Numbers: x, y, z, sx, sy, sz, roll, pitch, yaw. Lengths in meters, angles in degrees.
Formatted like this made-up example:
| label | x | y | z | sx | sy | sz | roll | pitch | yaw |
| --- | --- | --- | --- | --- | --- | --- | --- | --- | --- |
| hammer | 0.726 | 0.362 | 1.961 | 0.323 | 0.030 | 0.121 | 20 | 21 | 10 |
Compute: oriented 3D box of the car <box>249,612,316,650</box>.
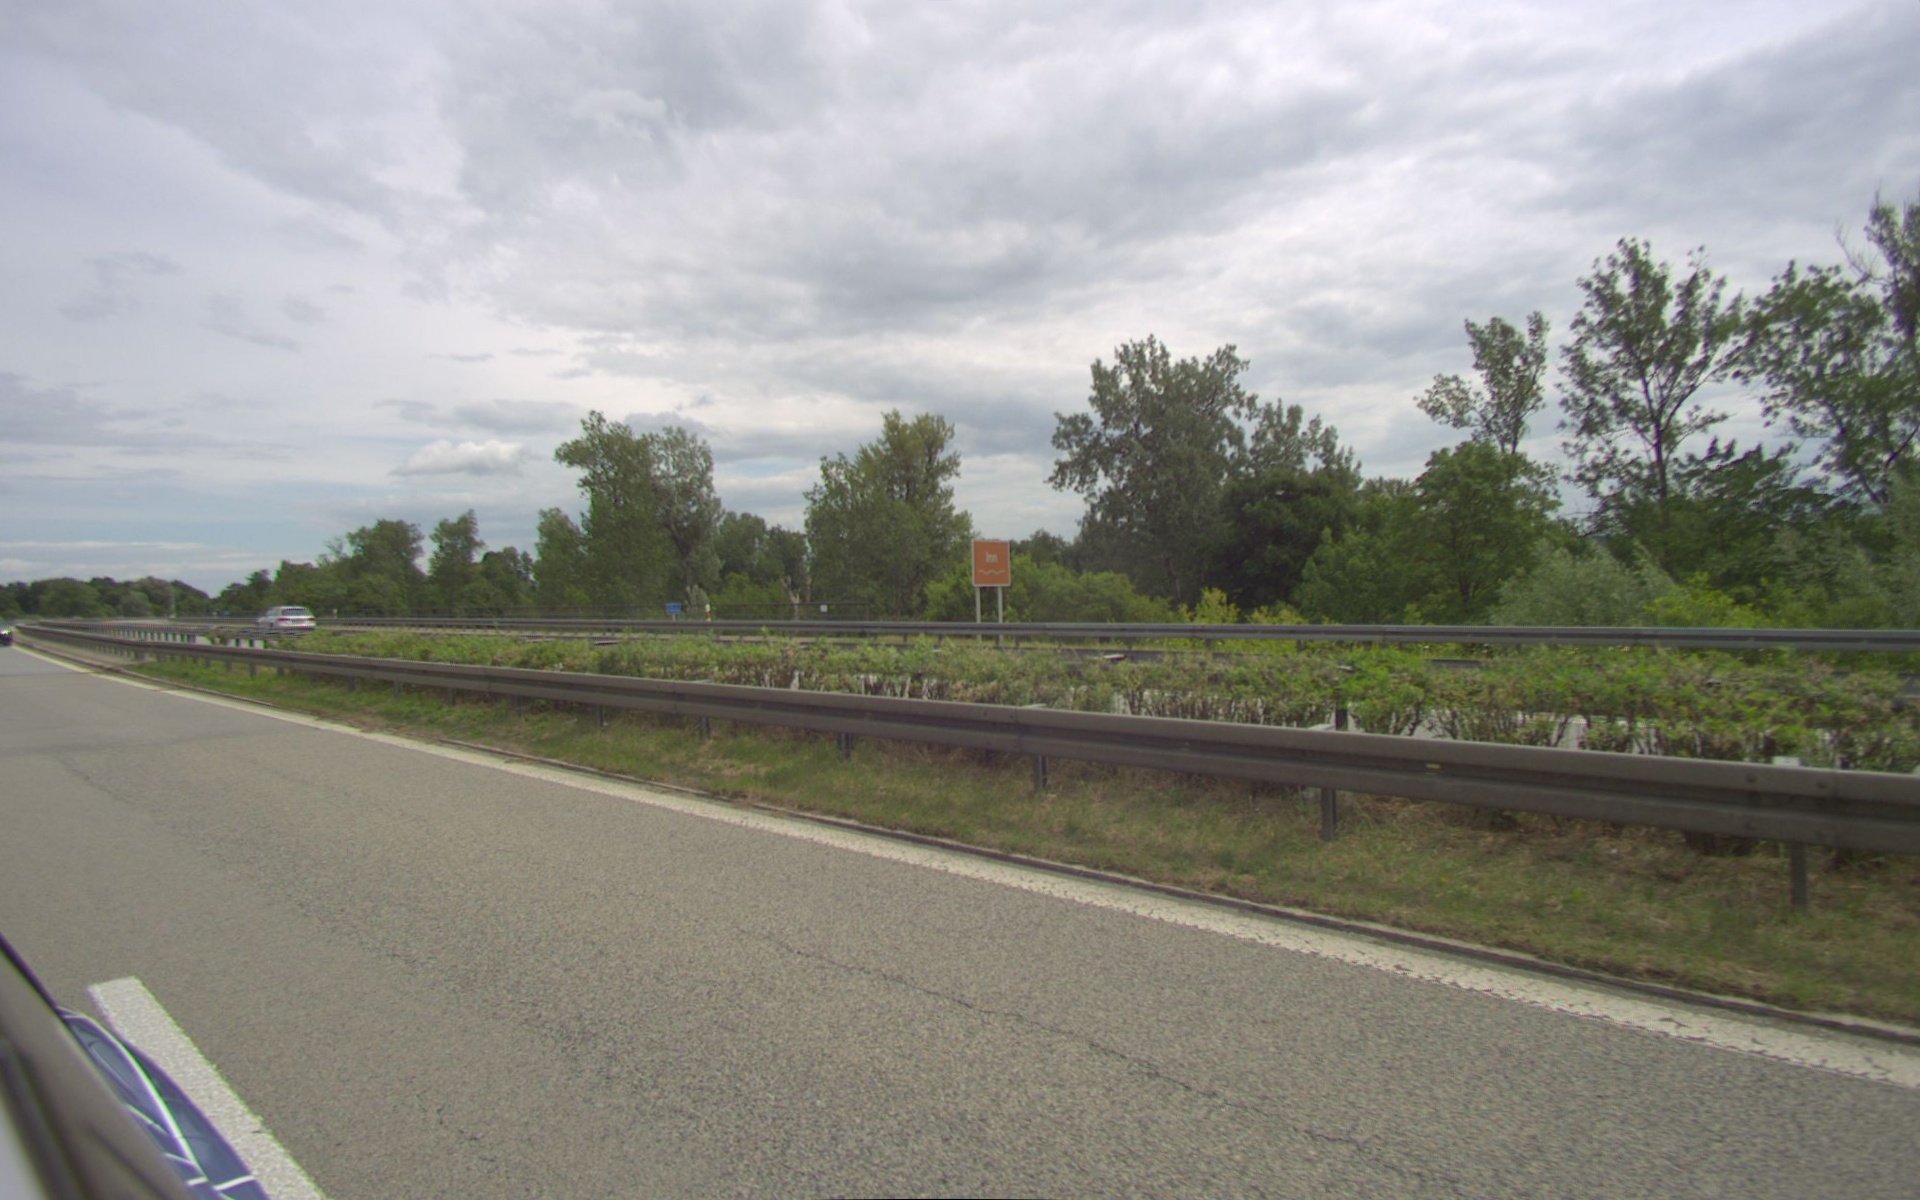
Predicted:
| label | x | y | z | sx | sy | sz | roll | pitch | yaw |
| --- | --- | --- | --- | --- | --- | --- | --- | --- | --- |
| car | -32.940 | 1.465 | 49.172 | 4.981 | 1.728 | 1.625 | -1 | 0 | 43 |

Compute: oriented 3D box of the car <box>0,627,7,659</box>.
| label | x | y | z | sx | sy | sz | roll | pitch | yaw |
| --- | --- | --- | --- | --- | --- | --- | --- | --- | --- |
| car | -47.210 | 2.107 | 48.640 | 4.697 | 1.494 | 1.751 | -3 | -3 | 43 |
